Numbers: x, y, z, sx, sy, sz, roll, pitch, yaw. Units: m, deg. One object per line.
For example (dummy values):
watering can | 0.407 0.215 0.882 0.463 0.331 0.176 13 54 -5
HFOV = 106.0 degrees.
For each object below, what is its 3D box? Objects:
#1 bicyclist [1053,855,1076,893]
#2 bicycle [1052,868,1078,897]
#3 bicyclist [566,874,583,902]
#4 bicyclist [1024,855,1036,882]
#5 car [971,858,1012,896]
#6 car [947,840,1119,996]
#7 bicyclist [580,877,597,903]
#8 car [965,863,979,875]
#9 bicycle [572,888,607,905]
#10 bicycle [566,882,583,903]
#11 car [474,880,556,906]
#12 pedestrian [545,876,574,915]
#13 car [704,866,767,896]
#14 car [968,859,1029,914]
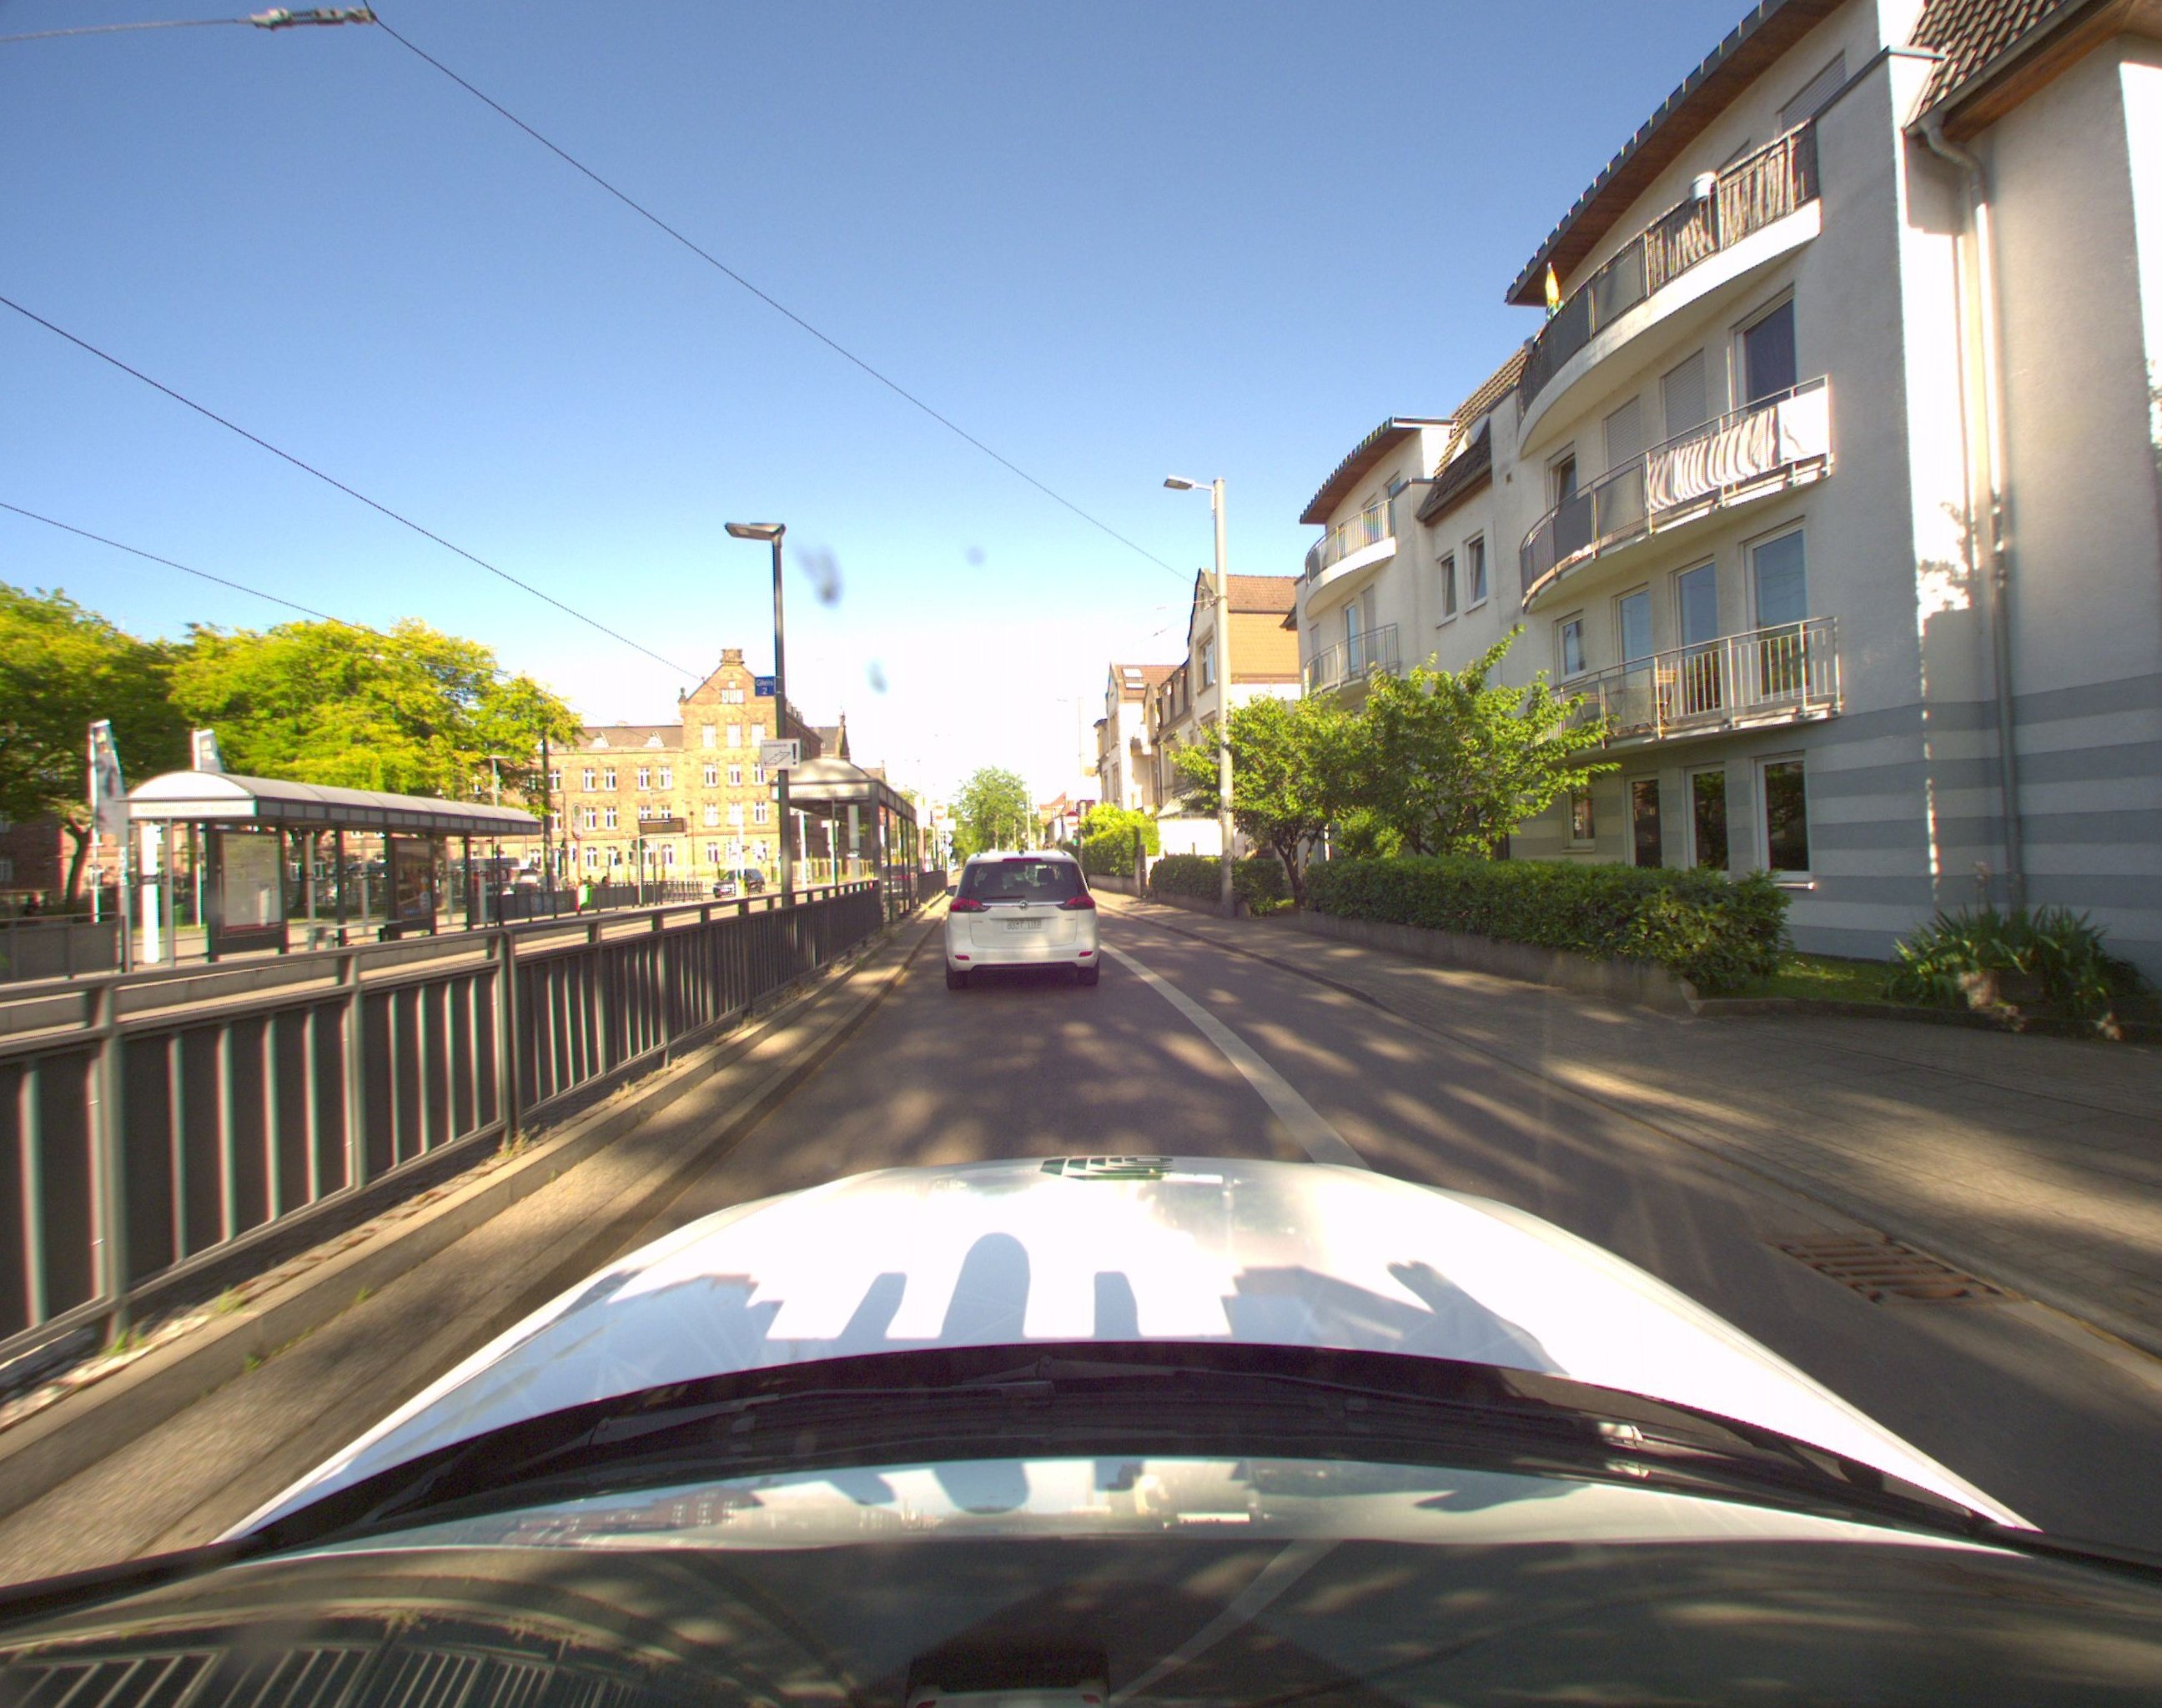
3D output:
bicyclist | -0.688 0.828 33.543 0.820 1.501 0.932 -2 -1 -8
bicycle | -0.695 1.166 33.743 0.829 1.154 2.089 -2 -1 -7
bicyclist | -26.342 1.770 42.351 0.693 1.383 0.528 -1 -1 -33
bicyclist | -3.086 0.895 49.497 0.684 1.634 1.014 -2 -1 -5
car | -4.140 1.030 37.570 1.774 1.632 3.871 -2 -1 -7
car | -0.723 0.722 10.874 1.833 1.642 3.909 -2 -1 -6
bicyclist | -31.646 2.305 52.365 0.633 1.636 0.799 -2 -1 -7
car | -16.414 2.245 122.528 1.773 1.692 3.873 -2 -1 -5
bicycle | -31.584 2.723 52.362 1.733 1.013 0.799 -2 -1 -7
bicycle | -26.292 1.969 42.278 0.696 1.049 1.652 -1 -1 -33
car | -37.549 2.552 54.097 4.058 1.522 1.874 -2 -1 -5
pedestrian | -25.242 1.990 39.454 0.725 1.861 1.094 -2 -1 -5
car | -20.988 1.601 49.673 1.900 1.677 4.358 -2 0 0
car | -2.404 0.909 24.136 1.584 1.420 3.893 -3 0 -5
